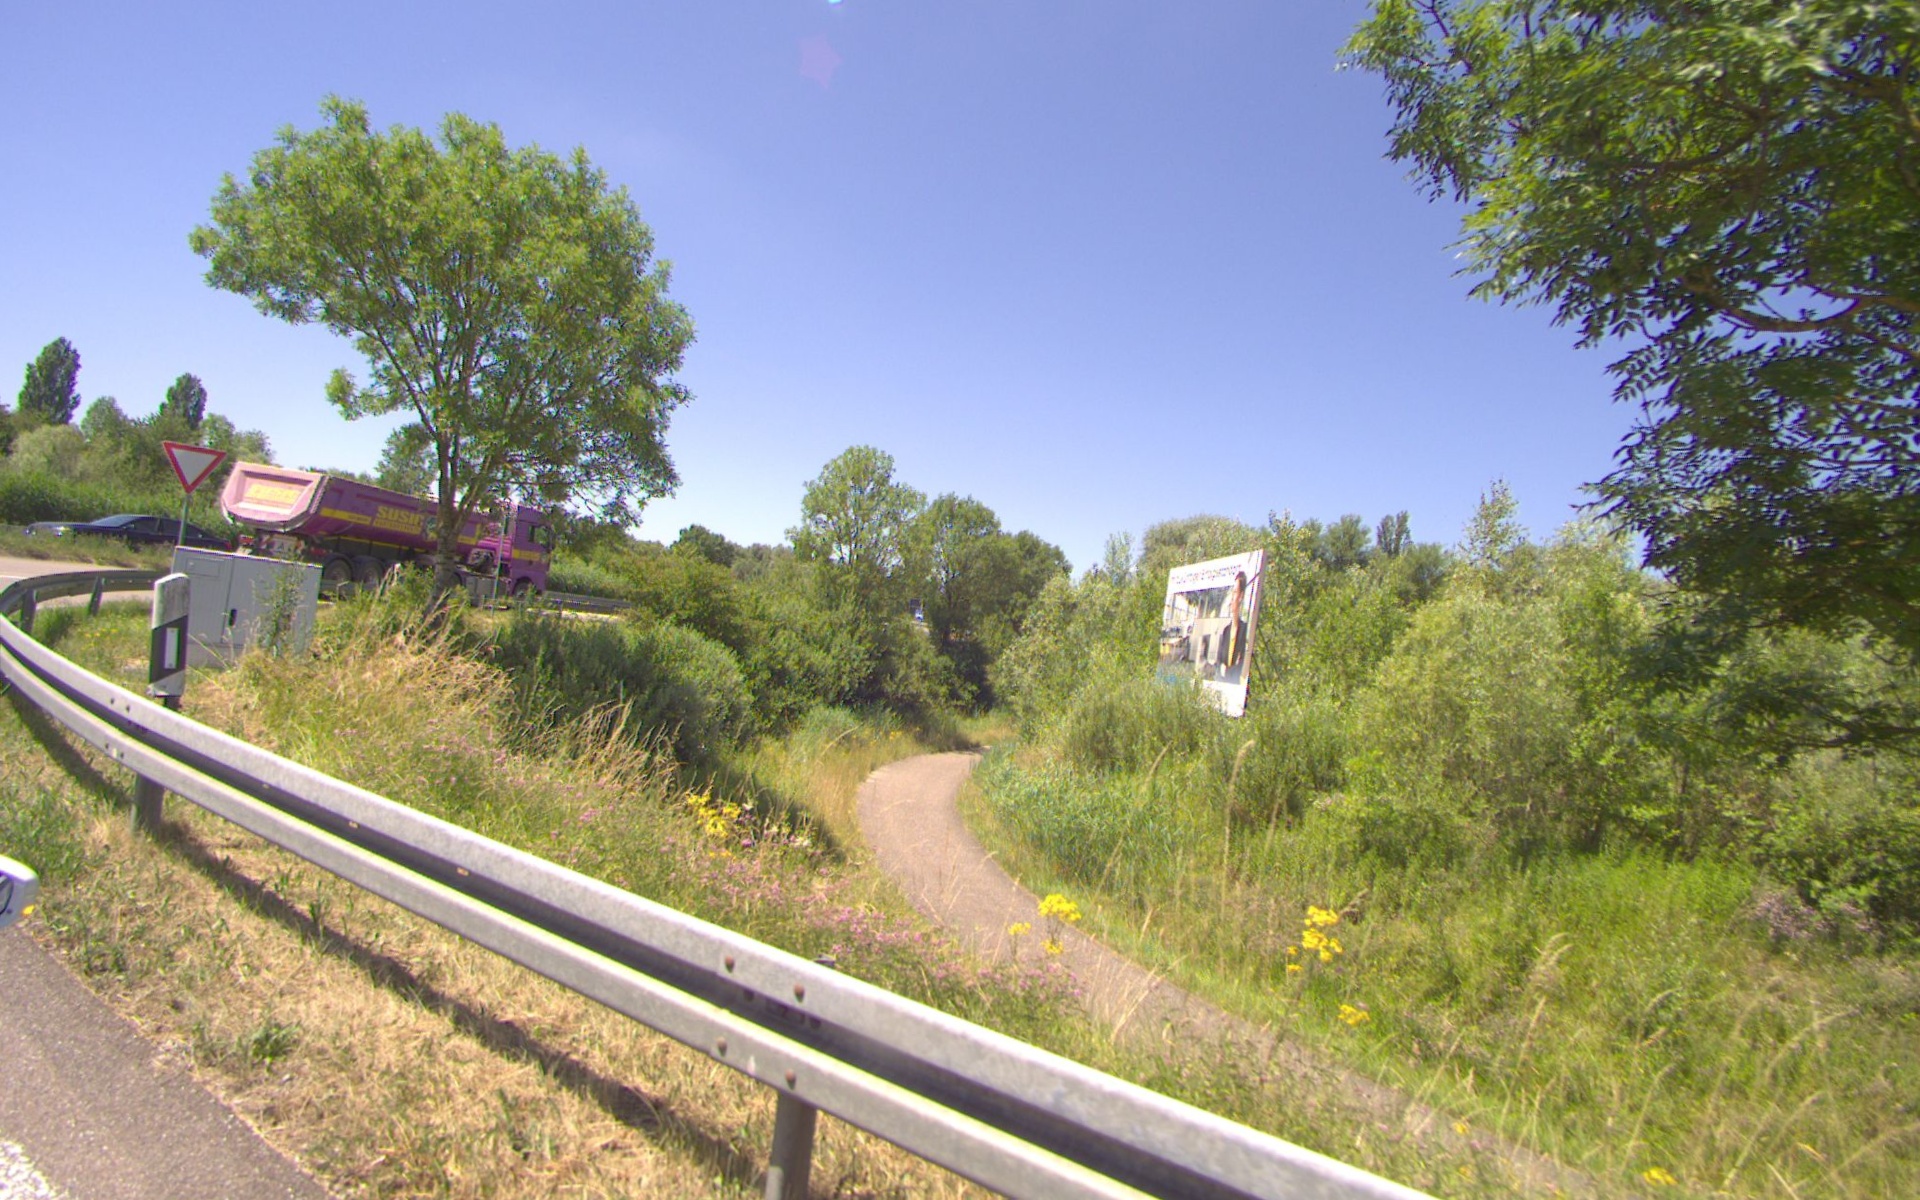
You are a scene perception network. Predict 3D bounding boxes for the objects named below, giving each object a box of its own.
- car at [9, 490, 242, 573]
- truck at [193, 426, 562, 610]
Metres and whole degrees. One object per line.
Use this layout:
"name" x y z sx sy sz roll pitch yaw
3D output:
"car" -24.811 -1.986 30.161 1.899 1.651 4.941 7 -1 24
"truck" -16.598 -1.953 30.468 2.789 3.866 11.895 7 -1 6
